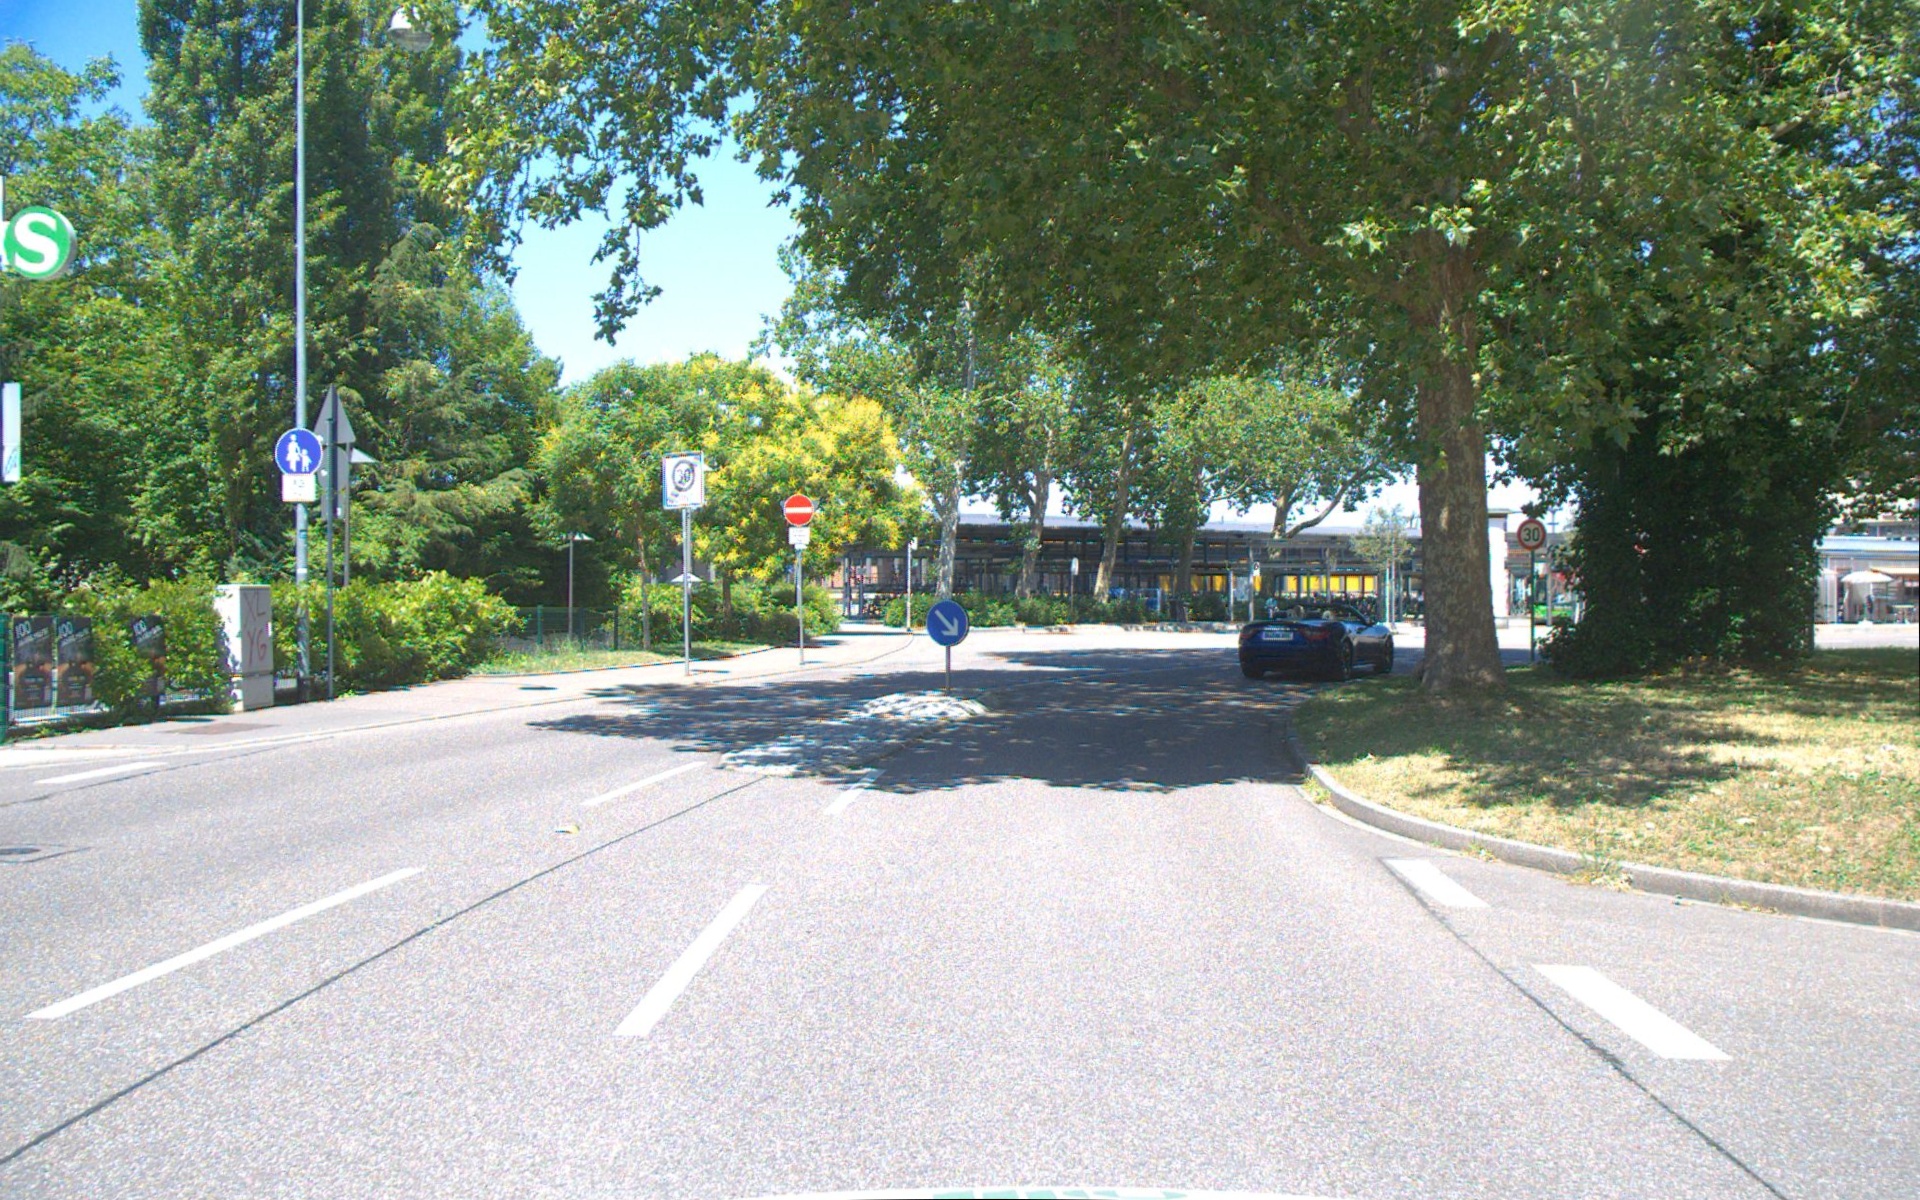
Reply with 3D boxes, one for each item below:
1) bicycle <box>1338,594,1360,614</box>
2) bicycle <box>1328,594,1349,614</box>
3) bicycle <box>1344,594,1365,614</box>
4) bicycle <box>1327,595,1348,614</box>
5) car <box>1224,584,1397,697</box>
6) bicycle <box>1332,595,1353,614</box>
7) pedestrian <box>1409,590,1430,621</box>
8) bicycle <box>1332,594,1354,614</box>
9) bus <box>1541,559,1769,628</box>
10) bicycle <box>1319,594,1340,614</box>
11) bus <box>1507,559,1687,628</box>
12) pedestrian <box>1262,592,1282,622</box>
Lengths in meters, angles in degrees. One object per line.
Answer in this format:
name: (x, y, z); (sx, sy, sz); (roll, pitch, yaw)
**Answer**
bicycle: (22.249, 0.236, 94.630); (0.380, 1.113, 1.373); (2, -1, -27)
bicycle: (21.519, 0.210, 94.089); (0.380, 1.113, 1.373); (2, -1, -27)
bicycle: (22.625, 0.248, 94.821); (0.380, 1.113, 1.373); (2, -1, -27)
bicycle: (21.917, 0.253, 96.163); (0.380, 1.113, 1.373); (2, -1, -27)
car: (6.435, 0.668, 30.076); (2.084, 1.880, 4.043); (1, 0, 27)
bicycle: (22.284, 0.265, 96.372); (0.380, 1.113, 1.373); (2, -1, -27)
pedestrian: (24.165, 0.285, 87.018); (0.807, 1.645, 0.764); (0, 0, 42)
bicycle: (21.848, 0.222, 94.379); (0.381, 1.113, 1.372); (2, -1, -29)
bus: (33.311, -0.249, 78.891); (13.709, 3.094, 2.655); (0, 0, -32)
bicycle: (21.418, 0.236, 95.883); (0.380, 1.113, 1.373); (2, -1, -27)
bus: (34.851, -0.362, 90.195); (12.054, 3.588, 2.147); (0, 0, -30)
pedestrian: (15.501, 0.349, 82.205); (0.811, 1.489, 0.600); (0, 0, -33)
